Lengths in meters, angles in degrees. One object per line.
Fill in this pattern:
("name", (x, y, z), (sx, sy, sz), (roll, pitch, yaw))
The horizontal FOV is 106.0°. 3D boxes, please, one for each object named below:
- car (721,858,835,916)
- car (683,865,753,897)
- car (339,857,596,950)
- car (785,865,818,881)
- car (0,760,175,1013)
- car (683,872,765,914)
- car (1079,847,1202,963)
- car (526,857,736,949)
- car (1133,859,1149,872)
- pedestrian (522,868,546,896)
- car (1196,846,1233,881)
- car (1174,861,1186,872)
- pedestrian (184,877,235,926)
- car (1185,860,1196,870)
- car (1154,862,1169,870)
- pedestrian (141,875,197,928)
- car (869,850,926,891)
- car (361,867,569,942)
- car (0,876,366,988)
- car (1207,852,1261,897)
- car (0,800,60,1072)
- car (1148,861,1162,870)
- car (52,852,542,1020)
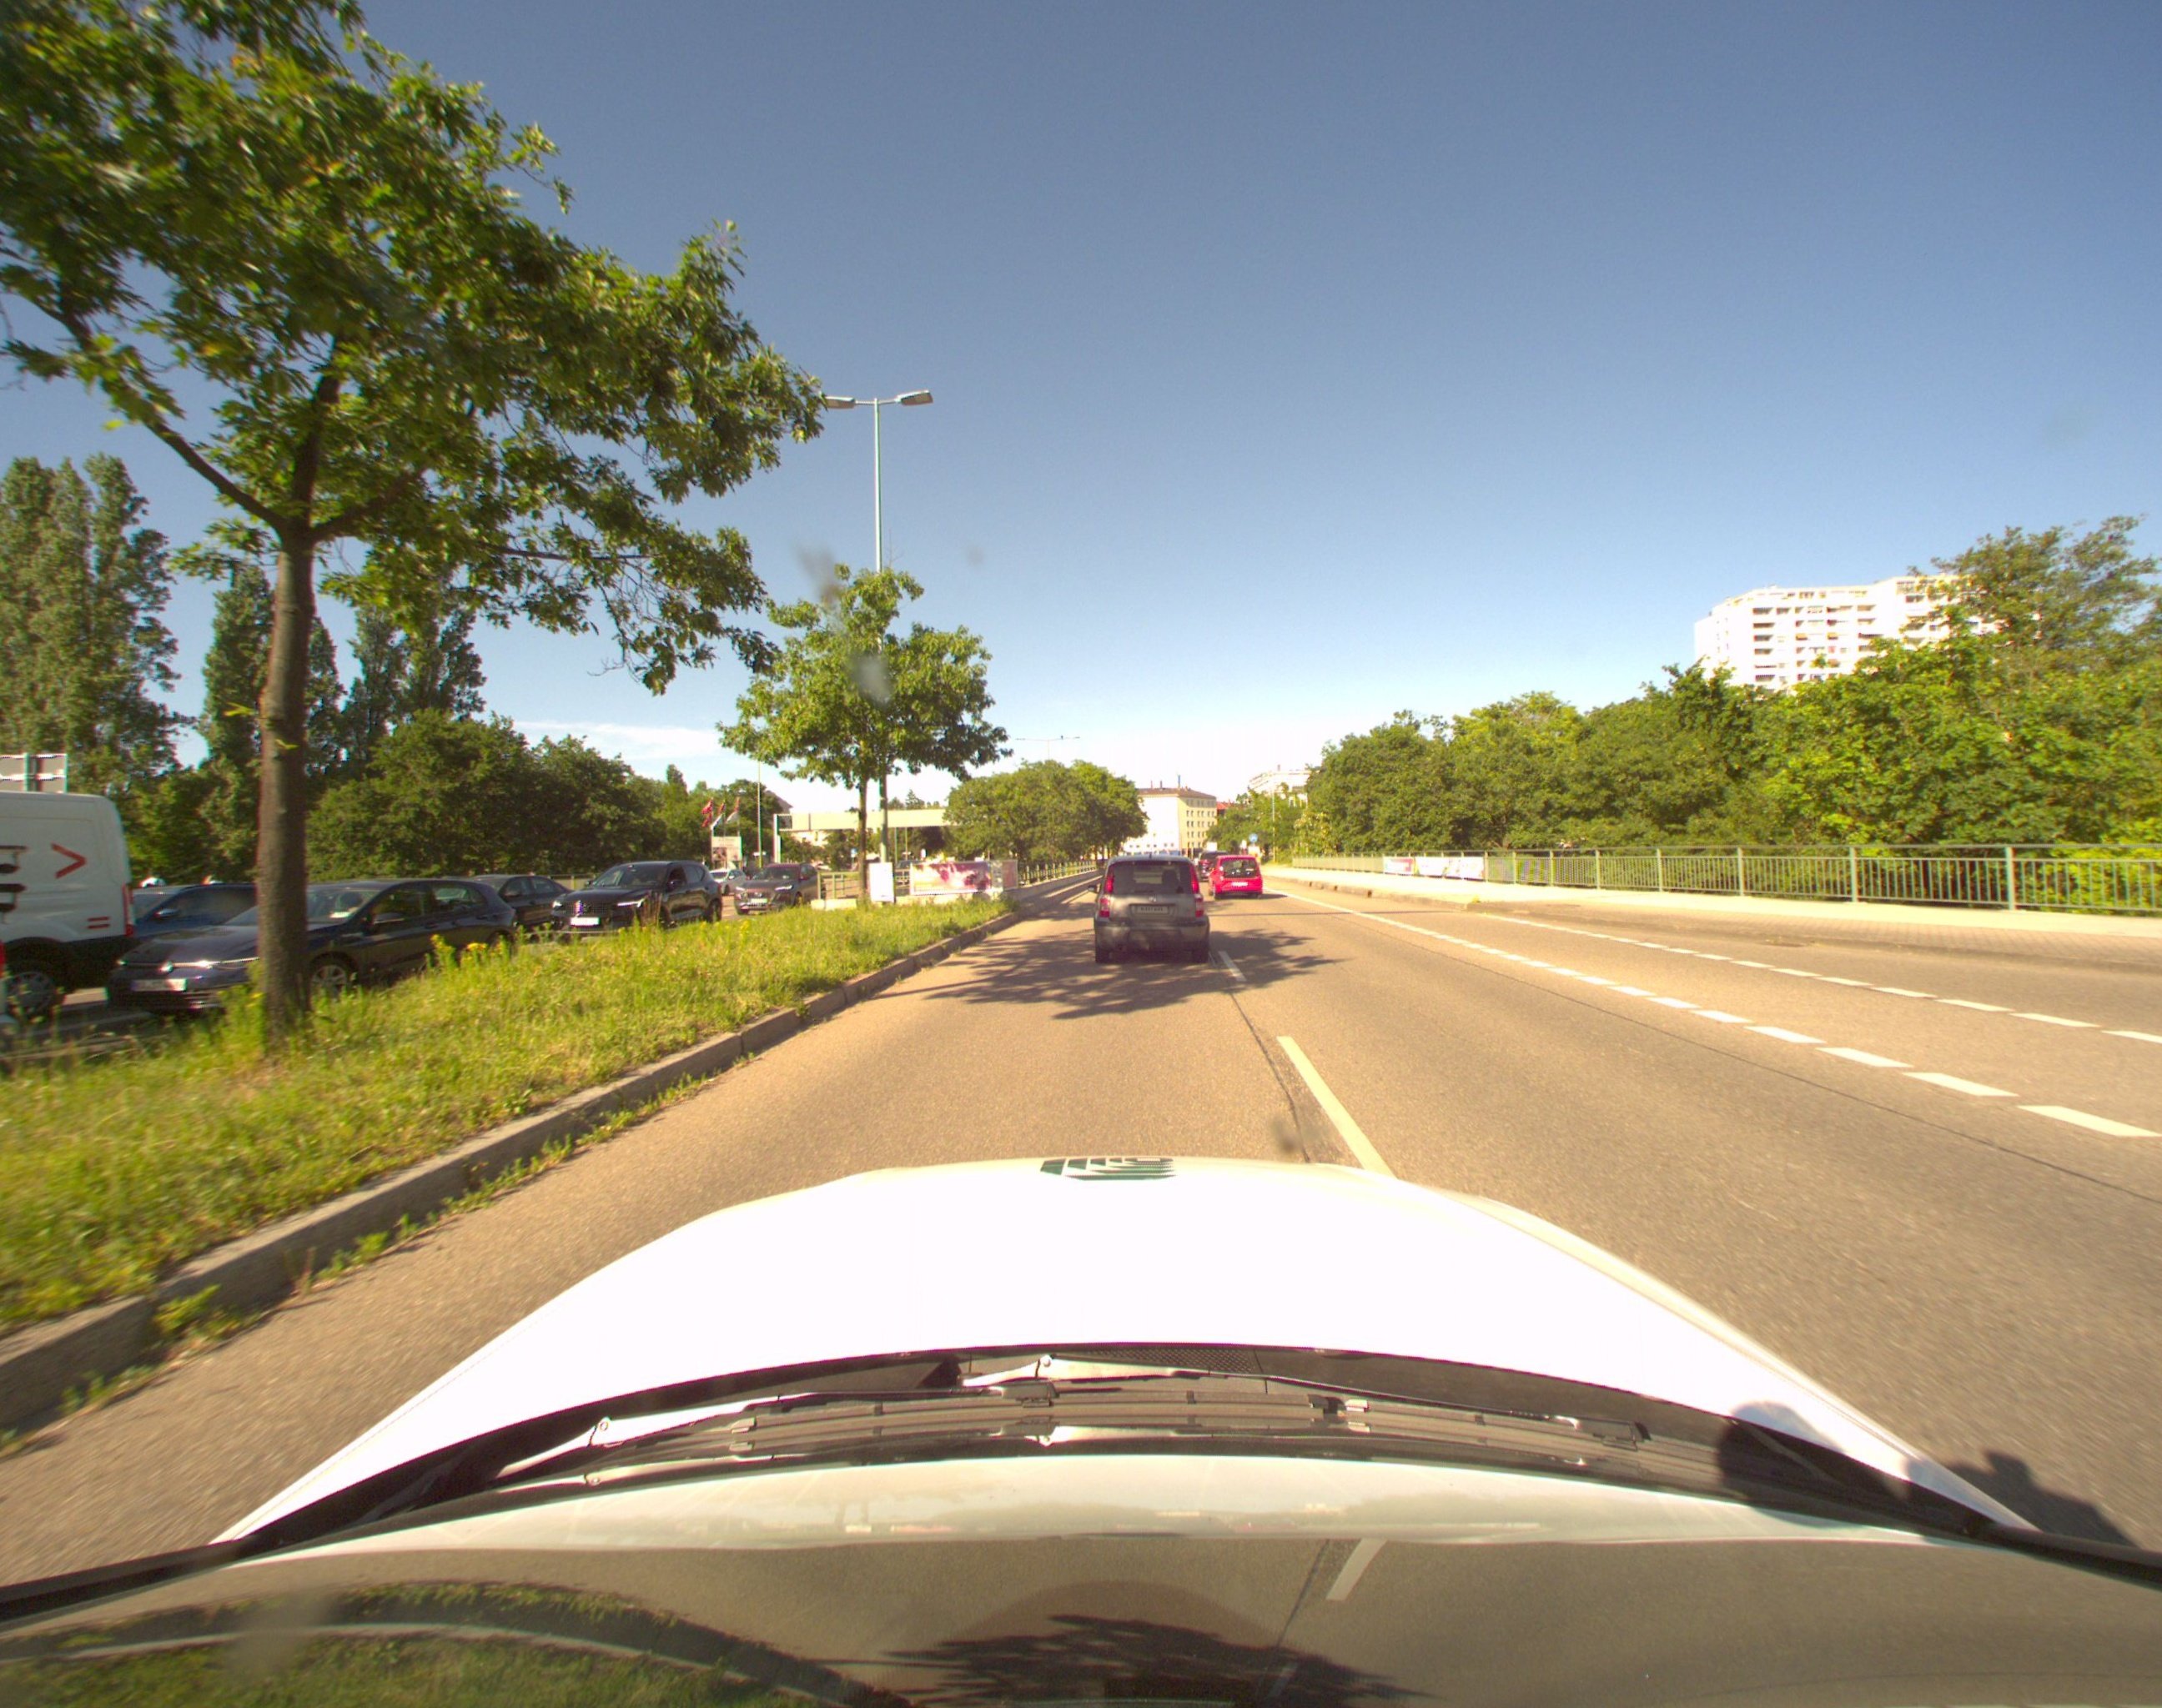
("car", (-9.496, 0.973, 25.954), (1.931, 1.622, 4.504), (-1, 0, -1))
("car", (-20.245, 1.453, 45.671), (1.931, 1.622, 4.504), (-1, 0, -1))
("car", (-12.439, 0.897, 16.978), (1.931, 1.622, 4.504), (-1, 0, -1))
("car", (-38.040, 2.629, 110.888), (4.250, 2.014, 1.987), (-2, -1, -20))
("car", (-11.930, 0.343, 6.840), (1.932, 2.576, 6.084), (-1, 0, -2))
("car", (-15.485, 1.659, 35.580), (1.931, 1.622, 3.738), (-1, 0, -1))
("car", (0.933, 0.668, 12.732), (1.610, 1.515, 3.824), (1, 0, 4))
("car", (-9.222, 0.911, 17.213), (1.931, 1.622, 4.504), (-1, 0, -1))
("car", (7.817, 1.485, 105.574), (1.936, 1.528, 4.104), (-1, 0, 6))
("pedestrian", (-29.747, 1.519, 44.293), (0.665, 1.503, 0.783), (-1, -3, 17))
("car", (7.383, 0.558, 45.308), (1.934, 1.840, 4.162), (0, -1, 8))
("car", (18.237, 2.263, 149.660), (1.934, 1.840, 4.163), (-5, -2, 9))
("pedestrian", (-29.550, 1.591, 27.626), (0.786, 1.630, 0.825), (0, -3, 4))
("car", (21.008, 2.102, 156.256), (1.934, 1.840, 4.163), (-5, -2, 9))
("car", (15.805, 2.356, 160.332), (1.929, 1.528, 4.118), (-1, 0, 20))
("pedestrian", (-29.373, 1.525, 26.239), (0.786, 1.666, 0.825), (0, -3, 4))
("car", (-9.820, 0.860, 43.825), (1.987, 2.014, 4.333), (-2, 0, 0))
("car", (-15.578, 1.200, 20.987), (1.931, 1.622, 4.504), (-1, 0, -1))
("car", (-15.269, 1.191, 14.017), (1.931, 1.465, 4.504), (-1, 0, -1))
("car", (5.294, 0.657, 28.530), (1.609, 1.463, 3.758), (1, 0, 7))
("car", (-8.887, 0.621, 3.861), (1.932, 2.008, 4.927), (-1, 0, -2))
("car", (13.774, 2.079, 150.968), (1.931, 1.528, 4.113), (-1, 0, 15))
("car", (-9.282, 0.818, 10.359), (1.932, 1.622, 4.502), (-1, 0, -2))
